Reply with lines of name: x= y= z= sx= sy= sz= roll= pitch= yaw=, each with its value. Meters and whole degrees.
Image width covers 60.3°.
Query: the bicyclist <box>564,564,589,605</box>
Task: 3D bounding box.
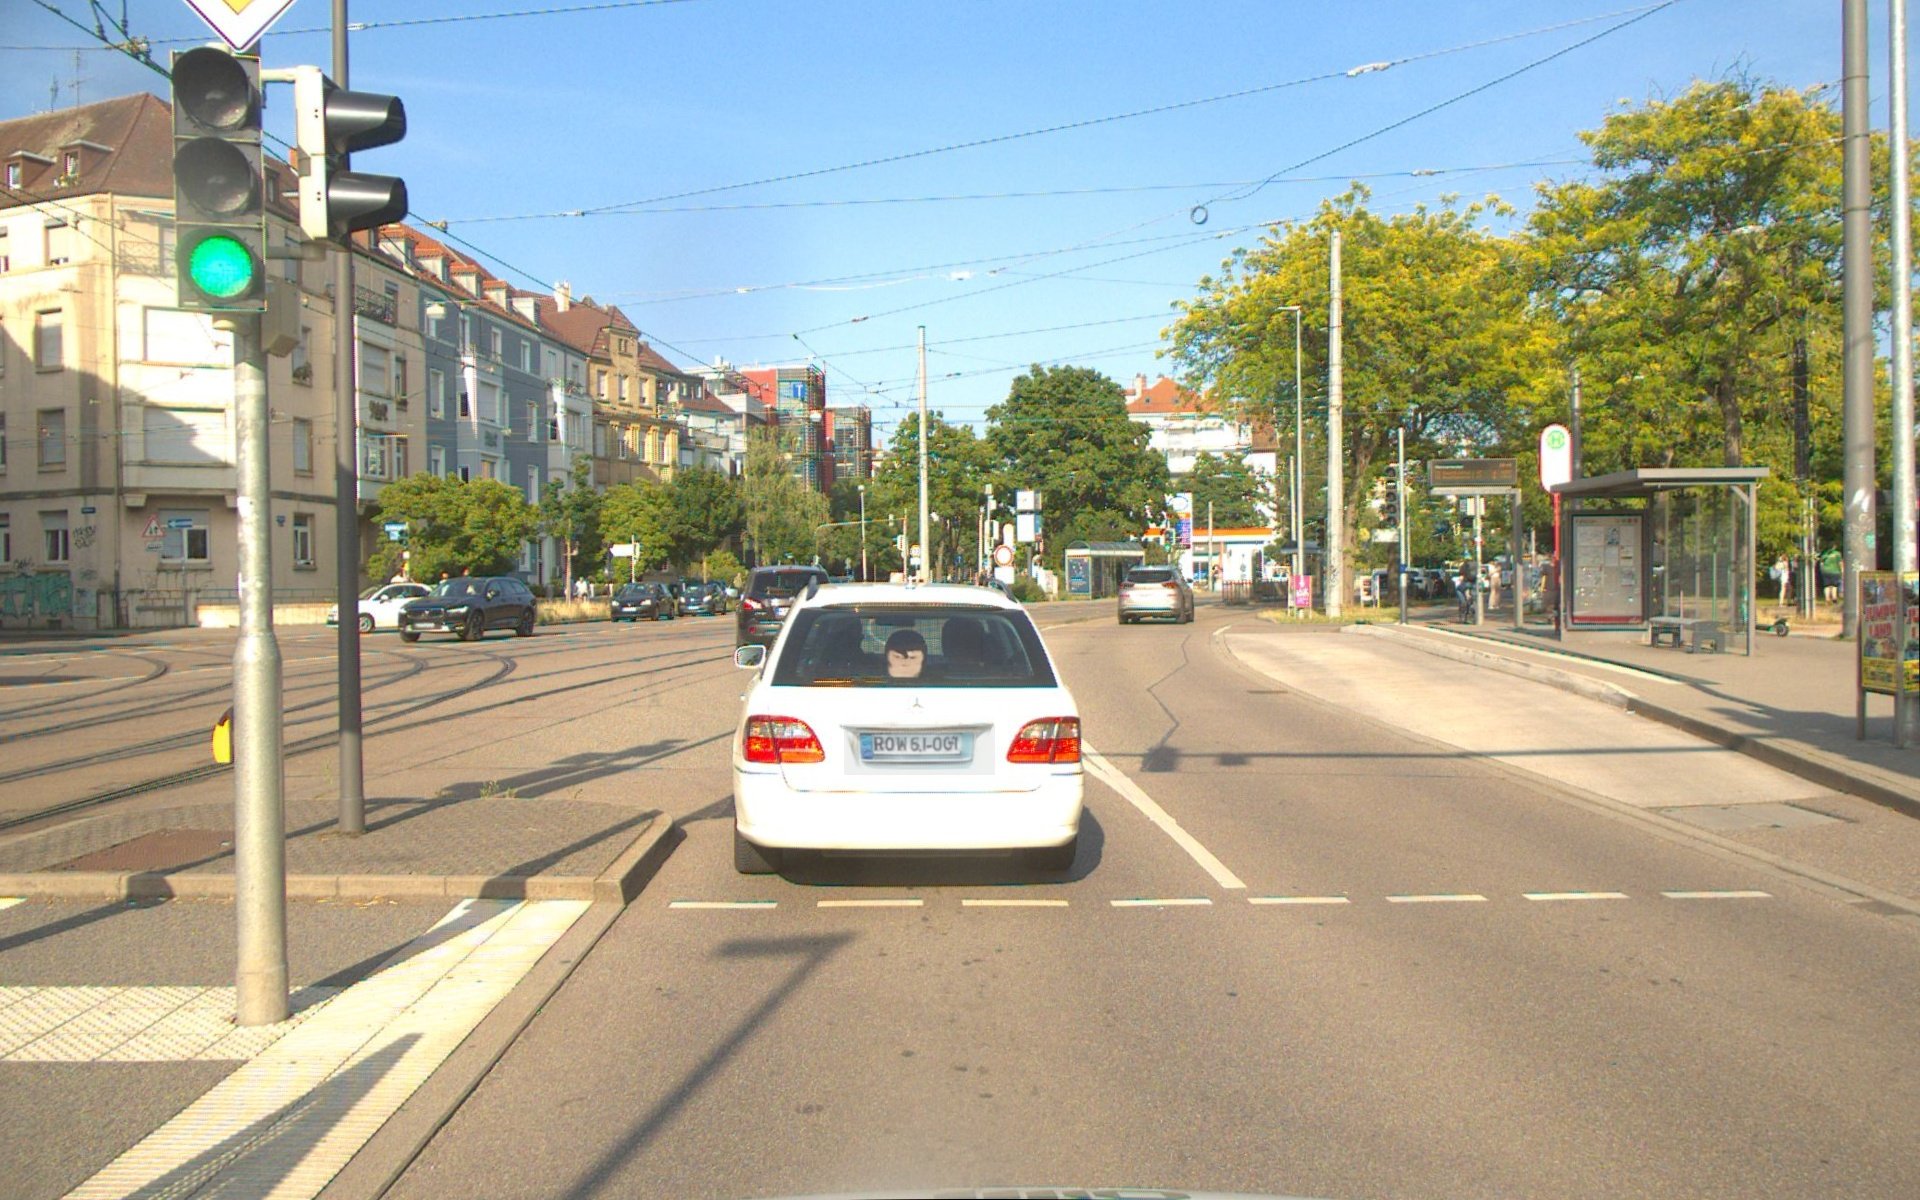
bicyclist: x=-16.043 y=-0.653 z=69.249 sx=0.744 sy=1.697 sz=1.167 roll=-1 pitch=1 yaw=0

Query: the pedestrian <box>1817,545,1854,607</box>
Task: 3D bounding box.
pedestrian: x=24.306 y=-0.662 z=45.915 sx=0.628 sy=1.694 sz=0.690 roll=-1 pitch=0 yaw=-2

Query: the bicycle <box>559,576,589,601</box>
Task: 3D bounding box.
bicycle: x=-16.063 y=-0.484 z=68.873 sx=0.753 sy=0.982 sz=2.034 roll=-1 pitch=1 yaw=0

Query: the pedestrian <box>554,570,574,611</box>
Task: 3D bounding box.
pedestrian: x=-17.603 y=-0.420 z=73.524 sx=0.625 sy=1.781 sz=0.912 roll=-1 pitch=1 yaw=2

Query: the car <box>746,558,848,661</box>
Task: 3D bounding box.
car: x=-2.809 y=0.131 z=28.442 sx=1.610 sy=1.628 sz=3.810 roll=1 pitch=1 yaw=-6

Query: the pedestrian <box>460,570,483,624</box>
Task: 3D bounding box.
pedestrian: x=-17.360 y=-0.121 z=58.793 sx=0.572 sy=1.913 sz=0.627 roll=-1 pitch=1 yaw=4

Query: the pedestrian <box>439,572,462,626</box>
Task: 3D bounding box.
pedestrian: x=-18.084 y=-0.031 z=58.748 sx=0.572 sy=1.913 sz=0.627 roll=-1 pitch=1 yaw=3

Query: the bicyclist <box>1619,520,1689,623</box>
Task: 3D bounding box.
bicyclist: x=12.417 y=-0.501 z=29.621 sx=0.636 sy=1.776 sz=1.140 roll=-4 pitch=0 yaw=-2

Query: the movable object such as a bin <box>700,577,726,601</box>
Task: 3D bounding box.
movable object such as a bin: x=-15.496 y=-0.715 z=103.798 sx=1.573 sy=1.446 sz=1.082 roll=-1 pitch=1 yaw=-8

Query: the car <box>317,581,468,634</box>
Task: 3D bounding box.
car: x=-17.189 y=0.207 z=50.183 sx=3.964 sy=1.482 sz=1.774 roll=-2 pitch=1 yaw=-41

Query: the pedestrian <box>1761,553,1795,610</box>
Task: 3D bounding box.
pedestrian: x=23.629 y=-0.535 z=47.772 sx=0.628 sy=1.638 sz=0.690 roll=-1 pitch=0 yaw=-2

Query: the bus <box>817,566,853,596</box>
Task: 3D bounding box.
bus: x=-7.172 y=-1.081 z=95.105 sx=1.807 sy=1.664 sz=4.158 roll=-1 pitch=1 yaw=-1

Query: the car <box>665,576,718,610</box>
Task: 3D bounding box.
car: x=-11.987 y=-0.333 z=73.952 sx=1.600 sy=1.458 sz=3.630 roll=-1 pitch=1 yaw=3

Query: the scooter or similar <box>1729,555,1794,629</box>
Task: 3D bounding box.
scooter or similar: x=13.883 y=-0.149 z=28.651 sx=0.345 sy=1.253 sz=1.131 roll=-1 pitch=1 yaw=-15

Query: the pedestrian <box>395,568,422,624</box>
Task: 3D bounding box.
pedestrian: x=-18.802 y=-0.138 z=56.360 sx=0.645 sy=1.913 sz=0.627 roll=-1 pitch=1 yaw=3

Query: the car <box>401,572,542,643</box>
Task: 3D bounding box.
car: x=-11.962 y=0.142 z=40.877 sx=1.729 sy=1.520 sz=4.748 roll=-1 pitch=2 yaw=4

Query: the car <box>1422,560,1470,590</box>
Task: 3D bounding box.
car: x=27.127 y=-1.419 z=92.243 sx=1.818 sy=1.542 sz=3.996 roll=-2 pitch=0 yaw=27

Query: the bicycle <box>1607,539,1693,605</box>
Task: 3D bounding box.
bicycle: x=12.393 y=-0.496 z=29.762 sx=0.627 sy=1.107 sz=1.939 roll=-3 pitch=1 yaw=-2

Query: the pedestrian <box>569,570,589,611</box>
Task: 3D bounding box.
pedestrian: x=-16.922 y=-0.420 z=73.507 sx=0.625 sy=1.781 sz=0.912 roll=-1 pitch=1 yaw=2

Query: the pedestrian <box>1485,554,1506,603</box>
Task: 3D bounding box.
pedestrian: x=18.701 y=-0.766 z=57.744 sx=0.627 sy=1.694 sz=0.691 roll=-1 pitch=0 yaw=14

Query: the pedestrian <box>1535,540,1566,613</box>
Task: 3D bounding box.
pedestrian: x=14.884 y=-0.587 z=41.686 sx=0.565 sy=1.808 sz=0.588 roll=1 pitch=1 yaw=7

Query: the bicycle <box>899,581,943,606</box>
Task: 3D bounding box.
bicycle: x=-1.729 y=-0.287 z=72.601 sx=1.875 sy=1.011 sz=0.726 roll=-3 pitch=1 yaw=-1

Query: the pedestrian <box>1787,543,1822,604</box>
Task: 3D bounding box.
pedestrian: x=23.928 y=-0.749 z=46.858 sx=0.628 sy=1.694 sz=0.690 roll=-1 pitch=0 yaw=-2

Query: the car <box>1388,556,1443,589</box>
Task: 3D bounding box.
car: x=22.701 y=-1.376 z=82.385 sx=1.818 sy=1.542 sz=3.996 roll=-2 pitch=0 yaw=27

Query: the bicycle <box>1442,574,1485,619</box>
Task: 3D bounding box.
bicycle: x=13.172 y=-0.106 z=43.314 sx=0.627 sy=1.107 sz=1.734 roll=-3 pitch=1 yaw=3

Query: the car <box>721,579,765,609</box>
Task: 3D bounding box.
car: x=-11.538 y=-0.347 z=88.123 sx=1.654 sy=1.466 sz=4.002 roll=-1 pitch=1 yaw=3

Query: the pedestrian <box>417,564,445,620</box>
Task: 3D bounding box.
pedestrian: x=-18.057 y=-0.278 z=56.434 sx=0.660 sy=1.880 sz=0.650 roll=-1 pitch=1 yaw=6

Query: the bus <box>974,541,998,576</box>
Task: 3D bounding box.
bus: x=1.979 y=-3.198 z=128.147 sx=1.761 sy=2.600 sz=4.000 roll=1 pitch=0 yaw=1

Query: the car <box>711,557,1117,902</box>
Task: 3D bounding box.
car: x=-0.247 y=0.558 z=9.297 sx=1.798 sy=1.527 sz=3.814 roll=1 pitch=1 yaw=-1

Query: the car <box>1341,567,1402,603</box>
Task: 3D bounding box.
car: x=19.311 y=-0.712 z=77.552 sx=1.818 sy=1.542 sz=3.995 roll=-2 pitch=0 yaw=28

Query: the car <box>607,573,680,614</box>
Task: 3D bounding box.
car: x=-11.923 y=-0.270 z=62.567 sx=1.730 sy=1.458 sz=4.002 roll=-1 pitch=1 yaw=3

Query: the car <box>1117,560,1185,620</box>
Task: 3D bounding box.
car: x=5.513 y=-0.288 z=47.399 sx=1.796 sy=1.628 sz=3.818 roll=1 pitch=1 yaw=8

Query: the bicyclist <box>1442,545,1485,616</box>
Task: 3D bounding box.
bicyclist: x=13.108 y=-0.508 z=43.093 sx=0.705 sy=1.776 sz=1.140 roll=-4 pitch=0 yaw=2

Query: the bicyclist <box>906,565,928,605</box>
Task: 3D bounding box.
bicyclist: x=-1.870 y=-0.653 z=72.591 sx=0.881 sy=1.728 sz=0.732 roll=-2 pitch=1 yaw=0
